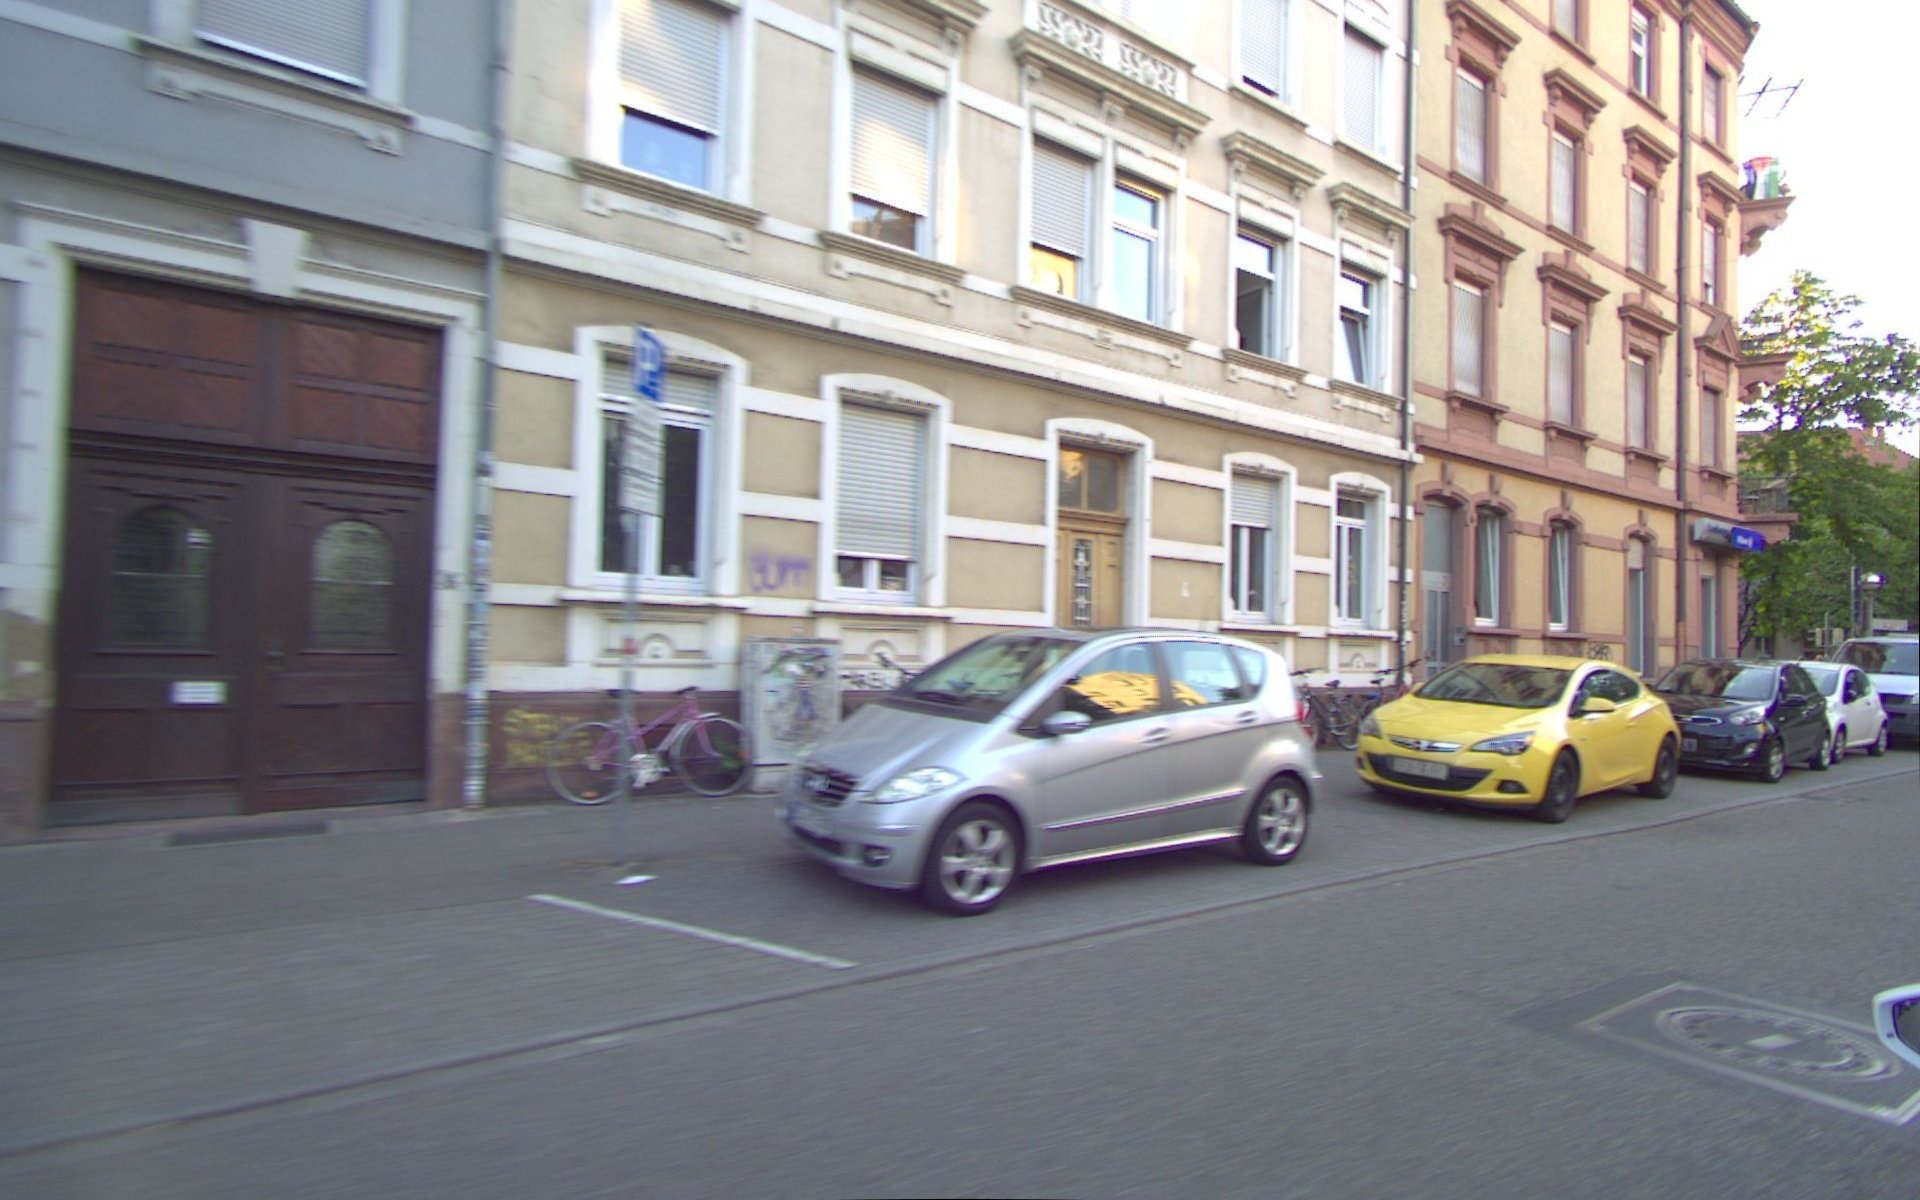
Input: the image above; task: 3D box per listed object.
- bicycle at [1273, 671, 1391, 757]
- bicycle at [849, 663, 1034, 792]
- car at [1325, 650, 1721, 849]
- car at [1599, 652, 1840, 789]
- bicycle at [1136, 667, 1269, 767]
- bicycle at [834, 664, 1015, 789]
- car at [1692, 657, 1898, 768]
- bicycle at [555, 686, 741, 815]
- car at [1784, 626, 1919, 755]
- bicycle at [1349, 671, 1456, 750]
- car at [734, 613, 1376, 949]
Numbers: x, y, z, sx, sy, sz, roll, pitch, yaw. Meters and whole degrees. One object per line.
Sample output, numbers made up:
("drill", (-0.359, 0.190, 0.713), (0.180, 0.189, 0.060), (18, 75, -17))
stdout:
("bicycle", (5.137, 1.531, 13.818), (1.818, 1.084, 0.657), (3, -3, -37))
("bicycle", (-0.147, 1.206, 9.856), (1.844, 1.155, 0.477), (2, -3, -34))
("car", (6.003, 1.369, 10.461), (4.757, 1.546, 1.825), (3, -1, -37))
("car", (10.270, 1.514, 13.510), (3.710, 1.511, 1.715), (3, -2, -38))
("bicycle", (3.034, 1.422, 12.472), (1.844, 1.155, 0.477), (2, -3, -34))
("bicycle", (-0.332, 1.230, 10.139), (1.844, 1.155, 0.477), (2, -3, -34))
("car", (13.436, 1.729, 16.112), (3.578, 1.511, 1.673), (3, -1, -35))
("bicycle", (-2.619, 1.237, 8.522), (1.452, 0.989, 0.397), (3, -6, -37))
("car", (17.391, 1.618, 18.554), (4.954, 2.084, 2.028), (3, -1, -34))
("bicycle", (6.575, 1.612, 14.893), (1.818, 1.084, 0.657), (3, -3, -37))
("car", (0.769, 0.981, 6.819), (4.101, 1.614, 1.789), (3, -1, -33))
